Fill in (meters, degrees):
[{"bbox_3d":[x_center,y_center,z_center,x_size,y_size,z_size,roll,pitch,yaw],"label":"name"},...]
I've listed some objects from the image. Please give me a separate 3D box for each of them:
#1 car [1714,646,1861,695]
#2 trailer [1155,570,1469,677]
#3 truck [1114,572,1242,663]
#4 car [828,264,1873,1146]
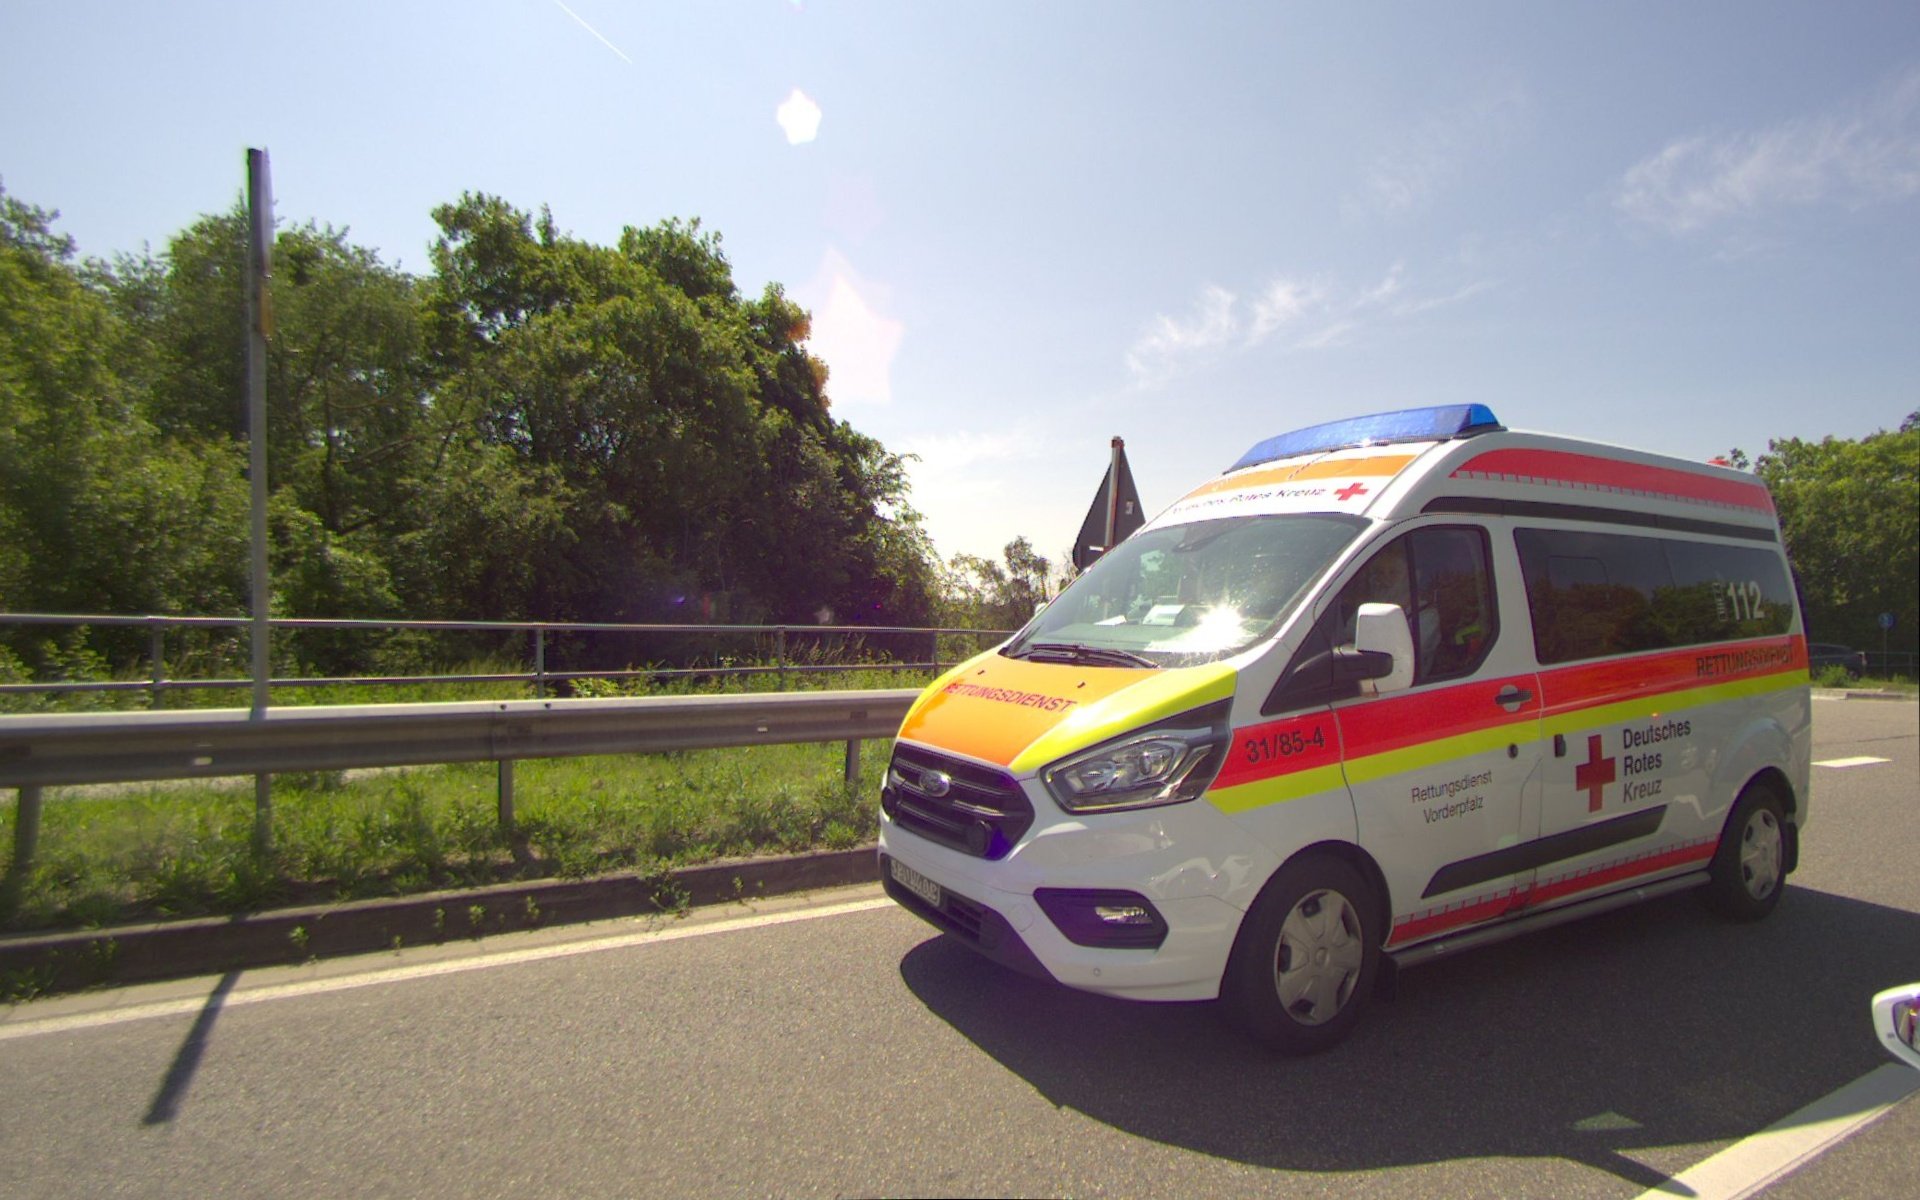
[{"bbox_3d":[31.040,2.617,37.787,3.849,1.617,1.771,1,0,14],"label":"car"},{"bbox_3d":[15.716,0.937,46.408,13.593,4.332,2.982,1,0,42],"label":"trailer"},{"bbox_3d":[10.976,0.871,51.062,2.970,4.332,5.867,1,0,-36],"label":"truck"},{"bbox_3d":[2.127,0.333,4.895,5.121,2.400,1.981,1,0,-30],"label":"car"}]
